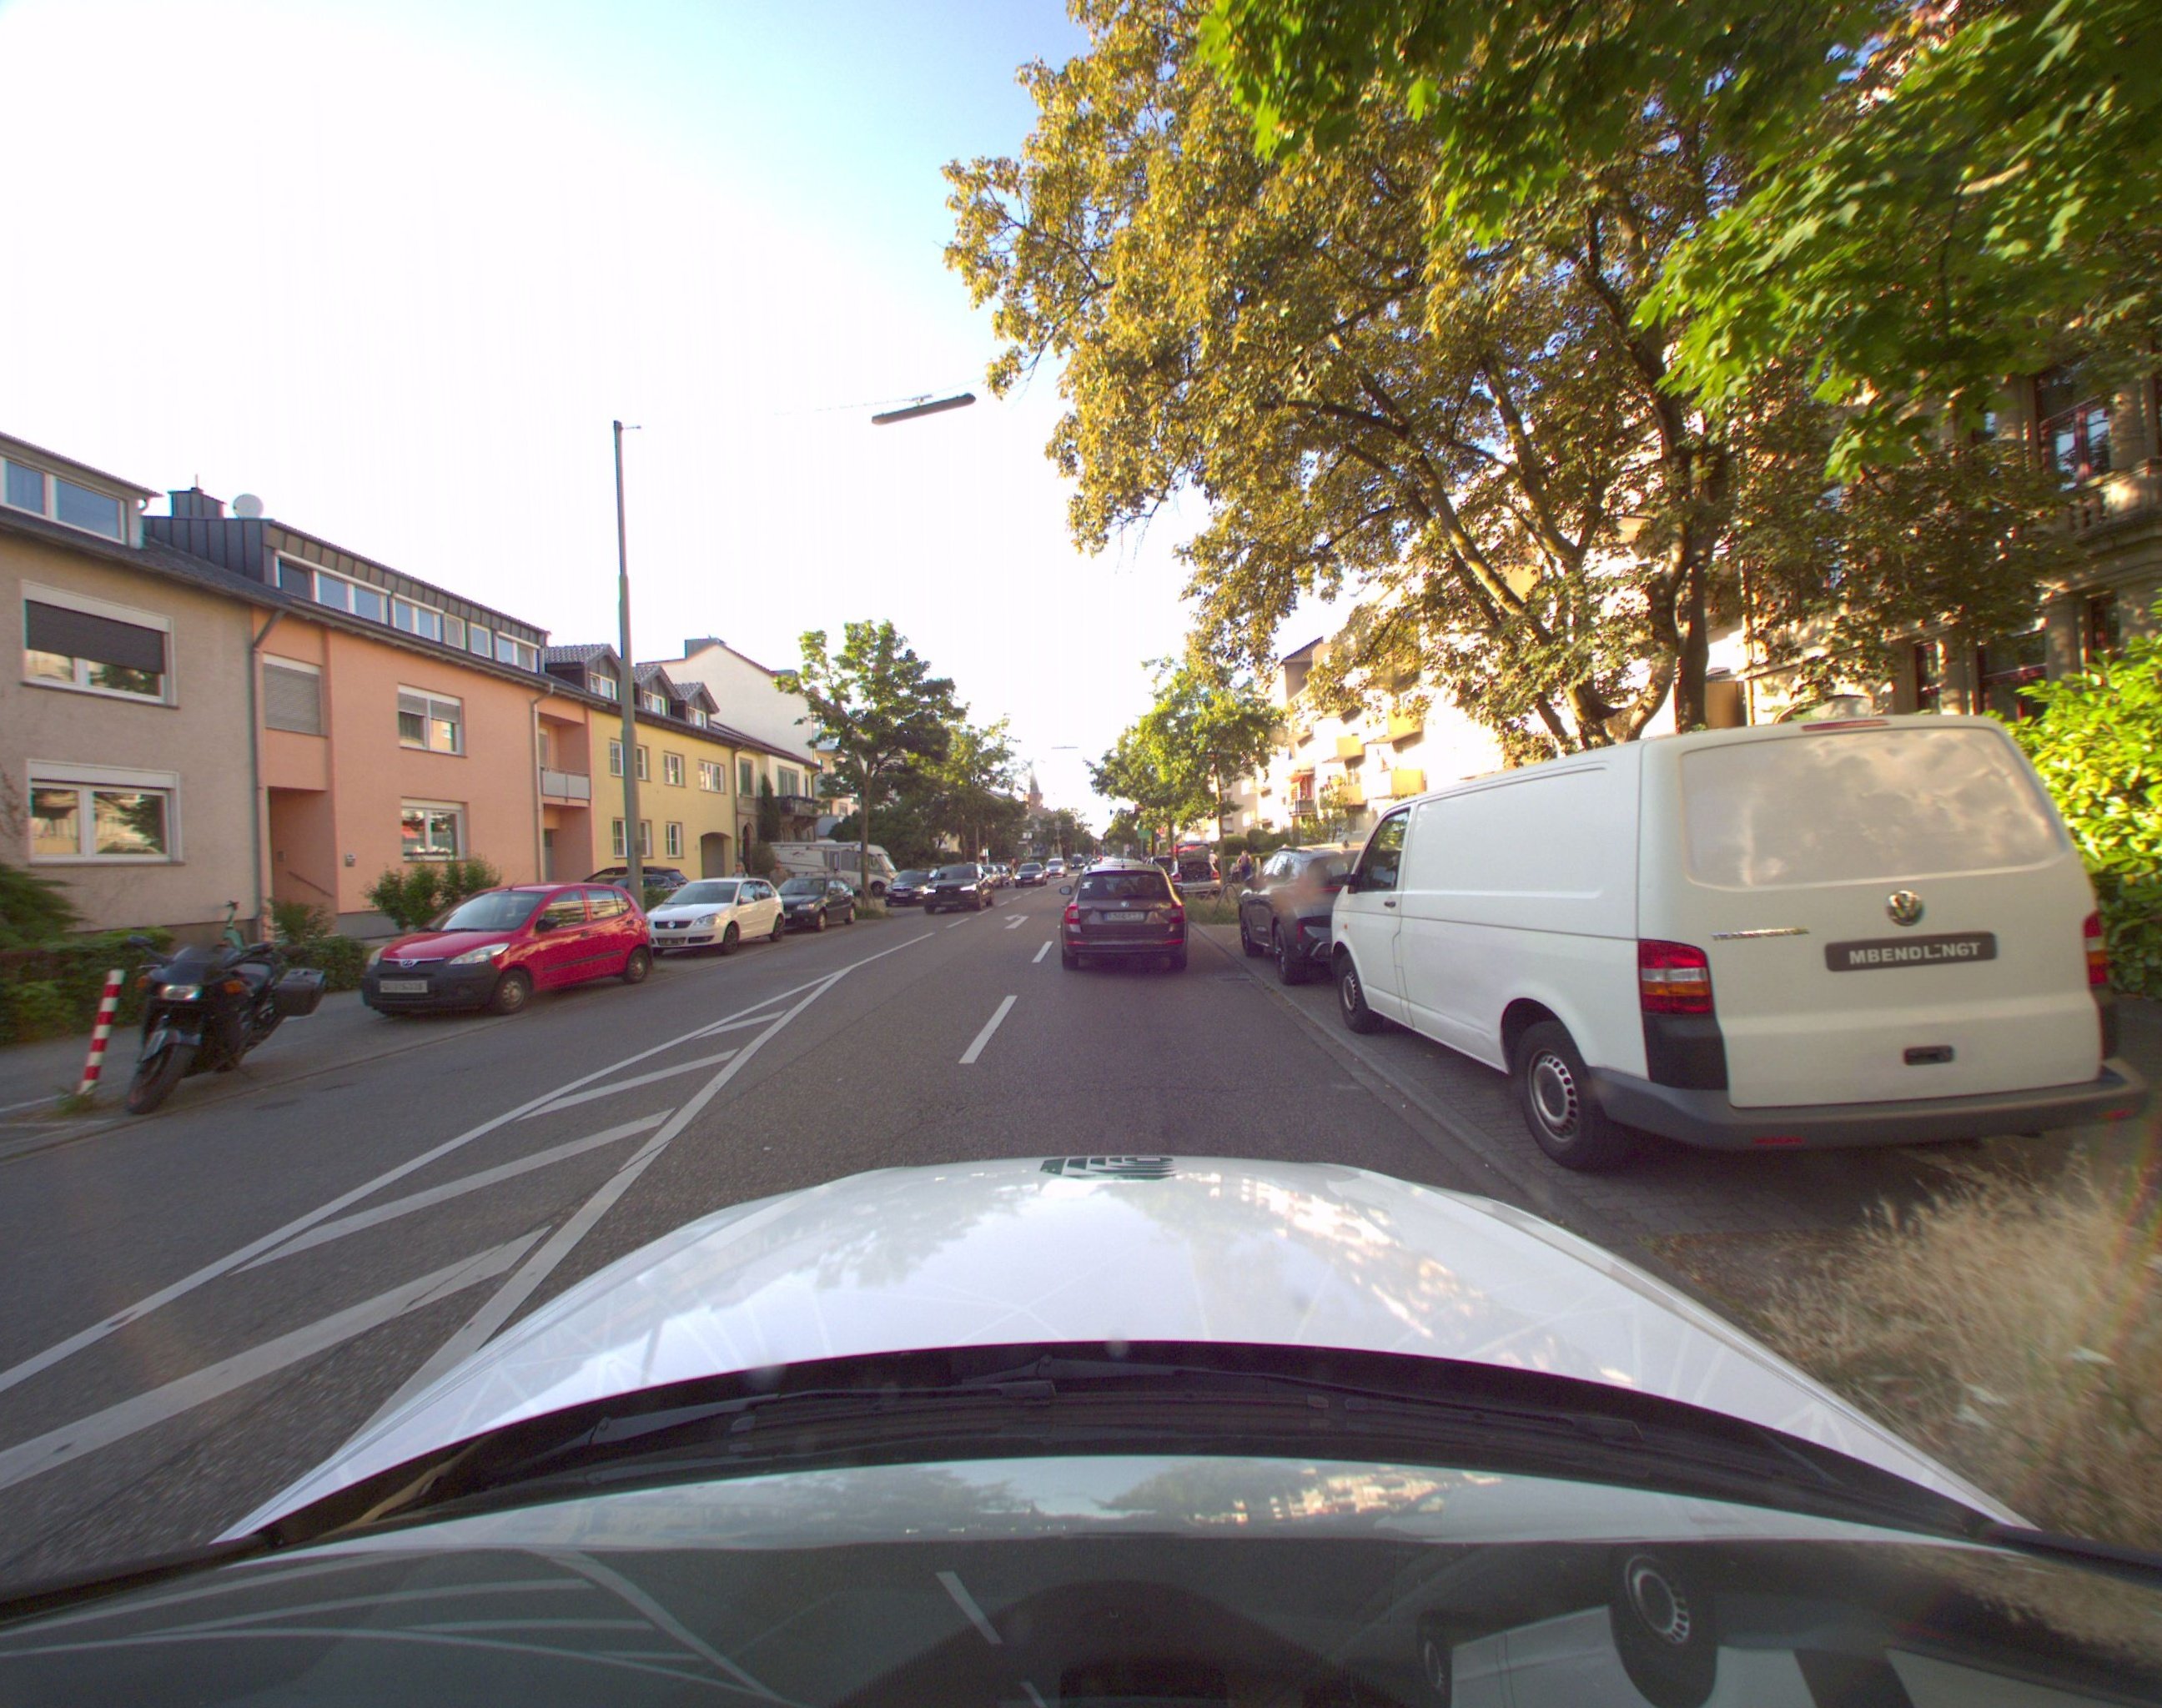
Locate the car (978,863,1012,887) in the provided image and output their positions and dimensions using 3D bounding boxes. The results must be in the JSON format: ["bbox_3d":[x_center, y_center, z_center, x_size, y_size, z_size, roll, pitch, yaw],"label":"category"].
[{"bbox_3d":[-5.750,1.376,54.936,1.642,1.517,4.075,-1,0,2],"label":"car"}]

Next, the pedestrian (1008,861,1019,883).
[{"bbox_3d":[-6.301,1.644,75.921,0.777,1.987,0.821,-3,-1,2],"label":"pedestrian"}]

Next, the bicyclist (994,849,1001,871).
[{"bbox_3d":[-6.492,0.443,63.296,0.467,1.663,0.552,-2,-1,1],"label":"bicyclist"}]

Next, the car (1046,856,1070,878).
[{"bbox_3d":[-2.062,1.190,75.109,1.799,1.804,4.747,-4,0,1],"label":"car"}]

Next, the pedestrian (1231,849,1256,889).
[{"bbox_3d":[6.939,0.631,34.747,0.748,1.640,0.700,-3,-1,38],"label":"pedestrian"}]

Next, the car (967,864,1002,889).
[{"bbox_3d":[-5.916,1.377,50.351,1.587,1.470,3.805,0,0,2],"label":"car"}]

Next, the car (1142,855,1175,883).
[{"bbox_3d":[4.459,0.846,47.299,1.696,1.450,4.018,-4,0,4],"label":"car"}]

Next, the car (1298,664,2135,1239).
[{"bbox_3d":[3.035,0.377,5.419,1.897,2.103,4.640,-2,0,0],"label":"car"}]

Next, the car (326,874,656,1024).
[{"bbox_3d":[-7.386,1.093,10.662,1.585,1.523,3.440,-2,0,4],"label":"car"}]

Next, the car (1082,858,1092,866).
[{"bbox_3d":[1.179,1.583,168.784,1.823,1.579,4.002,-3,0,2],"label":"car"}]

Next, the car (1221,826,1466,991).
[{"bbox_3d":[3.158,0.587,10.819,1.849,1.603,4.312,-5,0,1],"label":"car"}]

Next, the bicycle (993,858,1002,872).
[{"bbox_3d":[-6.493,0.850,63.374,0.484,1.064,1.534,-2,0,1],"label":"bicycle"}]

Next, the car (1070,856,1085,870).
[{"bbox_3d":[-0.484,1.313,123.568,1.986,1.908,4.965,-5,0,1],"label":"car"}]

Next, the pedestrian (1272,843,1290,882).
[{"bbox_3d":[8.672,0.364,35.360,0.475,1.640,0.533,-2,-1,-17],"label":"pedestrian"}]

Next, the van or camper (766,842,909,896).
[{"bbox_3d":[-12.737,0.766,42.856,6.774,2.773,2.352,0,-1,0],"label":"van or camper"}]

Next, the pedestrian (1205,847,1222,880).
[{"bbox_3d":[7.189,0.514,44.125,0.660,1.749,0.772,-4,-1,0],"label":"pedestrian"}]

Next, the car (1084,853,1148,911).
[{"bbox_3d":[1.057,0.766,24.196,1.730,1.571,4.003,-1,0,3],"label":"car"}]

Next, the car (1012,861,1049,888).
[{"bbox_3d":[-3.141,1.261,51.571,1.754,1.452,4.536,-5,0,2],"label":"car"}]

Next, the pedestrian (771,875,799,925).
[{"bbox_3d":[-9.120,1.416,25.124,0.587,1.496,0.543,-3,-1,4],"label":"pedestrian"}]

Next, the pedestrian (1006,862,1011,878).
[{"bbox_3d":[-8.253,1.870,93.133,0.447,1.797,0.504,-3,-1,2],"label":"pedestrian"}]

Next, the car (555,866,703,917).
[{"bbox_3d":[-15.296,1.235,27.680,3.971,1.636,1.867,0,0,2],"label":"car"}]

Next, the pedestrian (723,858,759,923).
[{"bbox_3d":[-9.591,1.020,22.956,0.710,1.792,0.506,-3,-1,4],"label":"pedestrian"}]

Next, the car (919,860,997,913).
[{"bbox_3d":[-4.101,1.056,27.823,1.829,1.570,4.001,-4,-1,1],"label":"car"}]

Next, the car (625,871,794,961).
[{"bbox_3d":[-7.479,1.173,16.830,1.587,1.523,3.891,-2,0,1],"label":"car"}]

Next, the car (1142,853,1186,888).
[{"bbox_3d":[4.187,0.796,41.522,1.849,1.581,4.014,-4,0,1],"label":"car"}]

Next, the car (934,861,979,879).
[{"bbox_3d":[-13.857,1.801,90.868,4.617,1.812,1.862,-3,-1,1],"label":"car"}]

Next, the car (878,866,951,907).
[{"bbox_3d":[-6.698,1.254,33.167,1.860,1.494,4.519,-1,0,2],"label":"car"}]

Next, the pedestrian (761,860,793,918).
[{"bbox_3d":[-9.692,1.109,25.946,0.710,1.792,0.572,-3,-1,4],"label":"pedestrian"}]

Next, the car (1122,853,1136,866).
[{"bbox_3d":[6.894,0.779,116.695,1.984,1.772,4.005,-1,0,5],"label":"car"}]

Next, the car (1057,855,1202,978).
[{"bbox_3d":[0.656,0.786,12.260,1.766,1.489,4.312,-1,0,1],"label":"car"}]

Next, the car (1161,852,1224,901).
[{"bbox_3d":[3.924,0.759,29.260,1.702,1.480,4.269,-4,0,1],"label":"car"}]

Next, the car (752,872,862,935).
[{"bbox_3d":[-7.146,1.248,21.595,1.537,1.396,3.667,-2,0,2],"label":"car"}]

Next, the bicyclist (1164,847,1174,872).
[{"bbox_3d":[6.208,0.386,57.638,0.579,1.789,0.852,-2,0,2],"label":"bicyclist"}]

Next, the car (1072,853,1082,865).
[{"bbox_3d":[-0.958,1.158,189.559,1.986,2.478,4.002,-3,0,2],"label":"car"}]

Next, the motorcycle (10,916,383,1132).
[{"bbox_3d":[-7.129,1.251,6.841,1.184,1.266,2.352,-3,-1,-22],"label":"motorcycle"}]

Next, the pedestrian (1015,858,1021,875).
[{"bbox_3d":[-7.158,1.418,92.600,0.613,1.797,0.504,-3,-1,2],"label":"pedestrian"}]
